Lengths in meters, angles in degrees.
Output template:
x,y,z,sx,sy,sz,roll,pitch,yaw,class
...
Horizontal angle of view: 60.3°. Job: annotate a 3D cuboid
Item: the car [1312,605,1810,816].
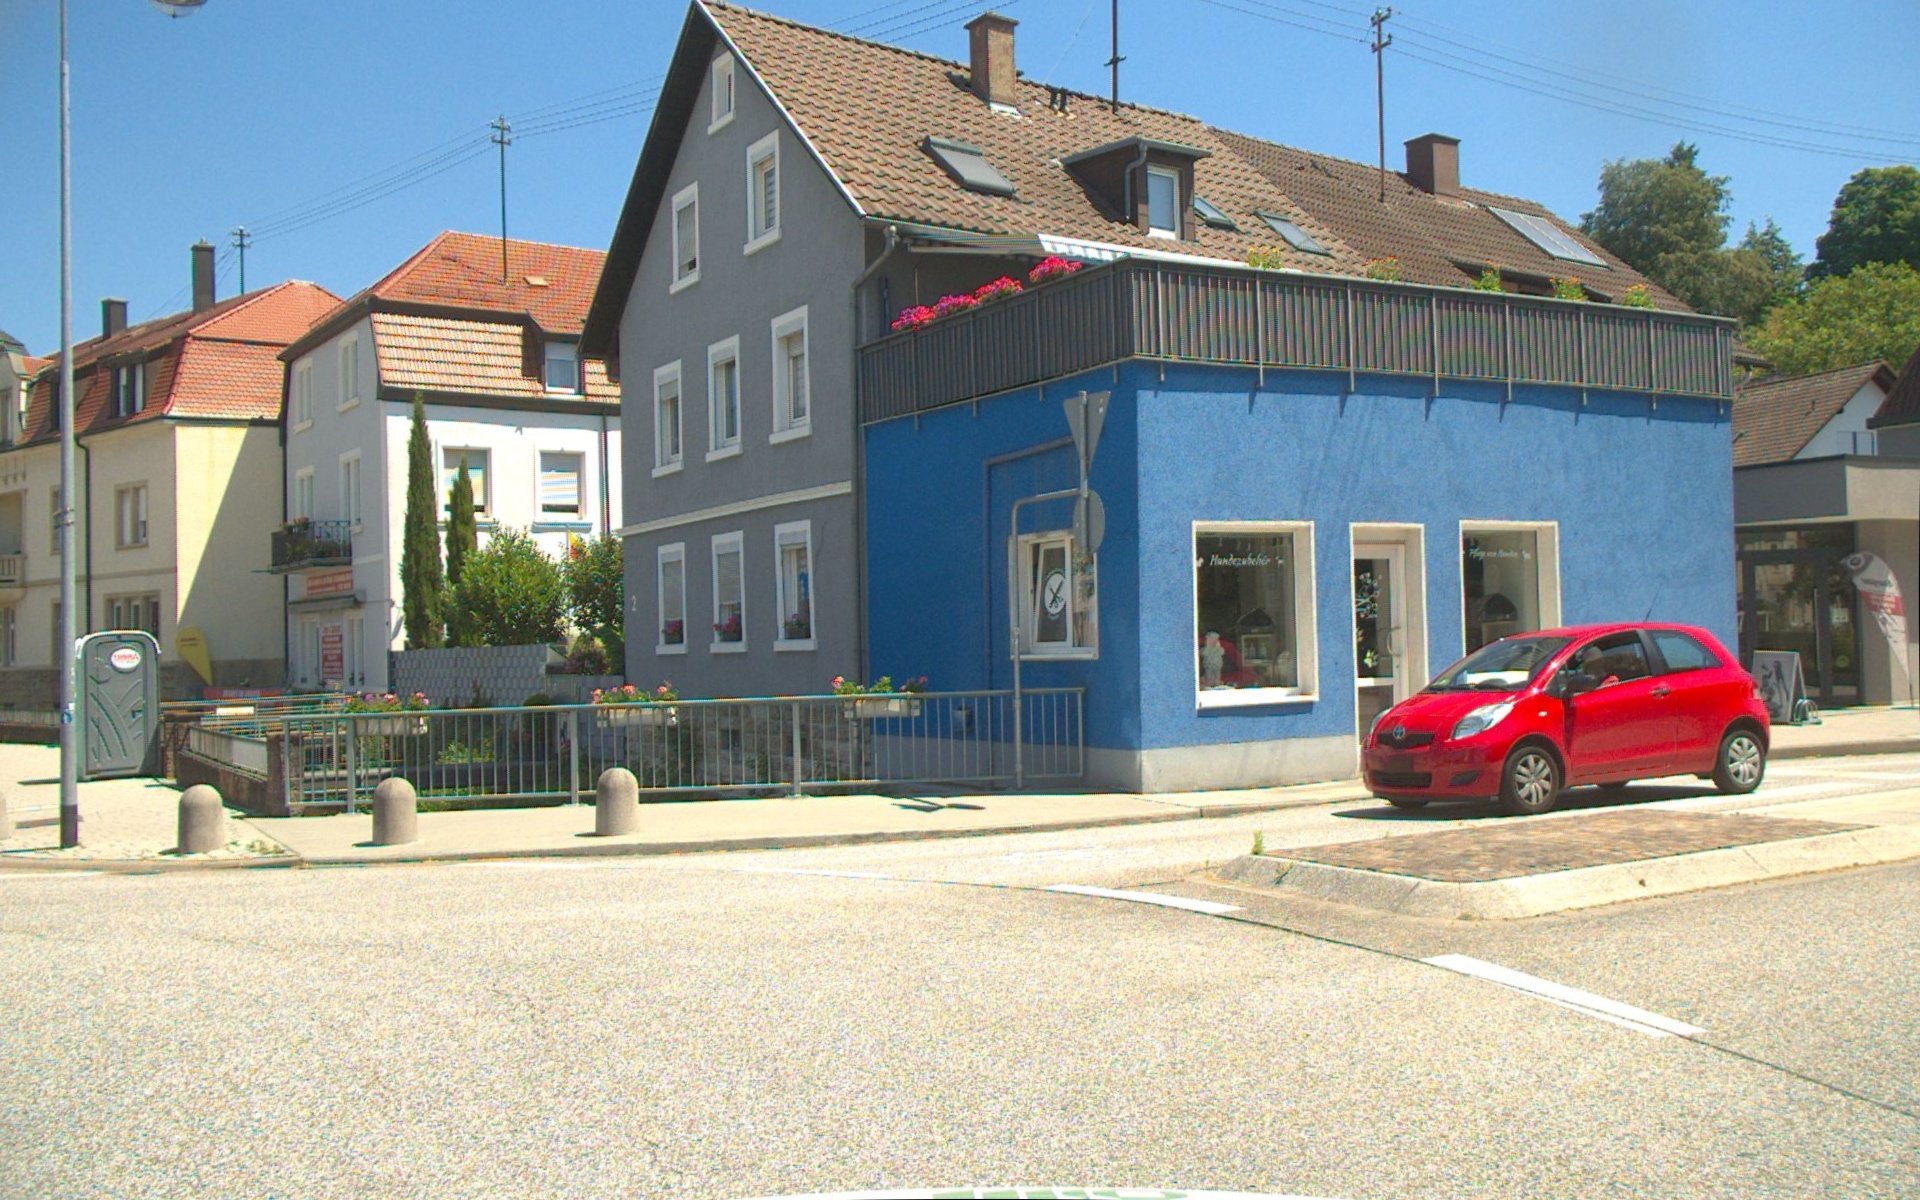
x,y,z,sx,sy,sz,roll,pitch,yaw,class
5.284,0.926,14.549,3.937,1.560,1.820,-1,-4,-25,car
